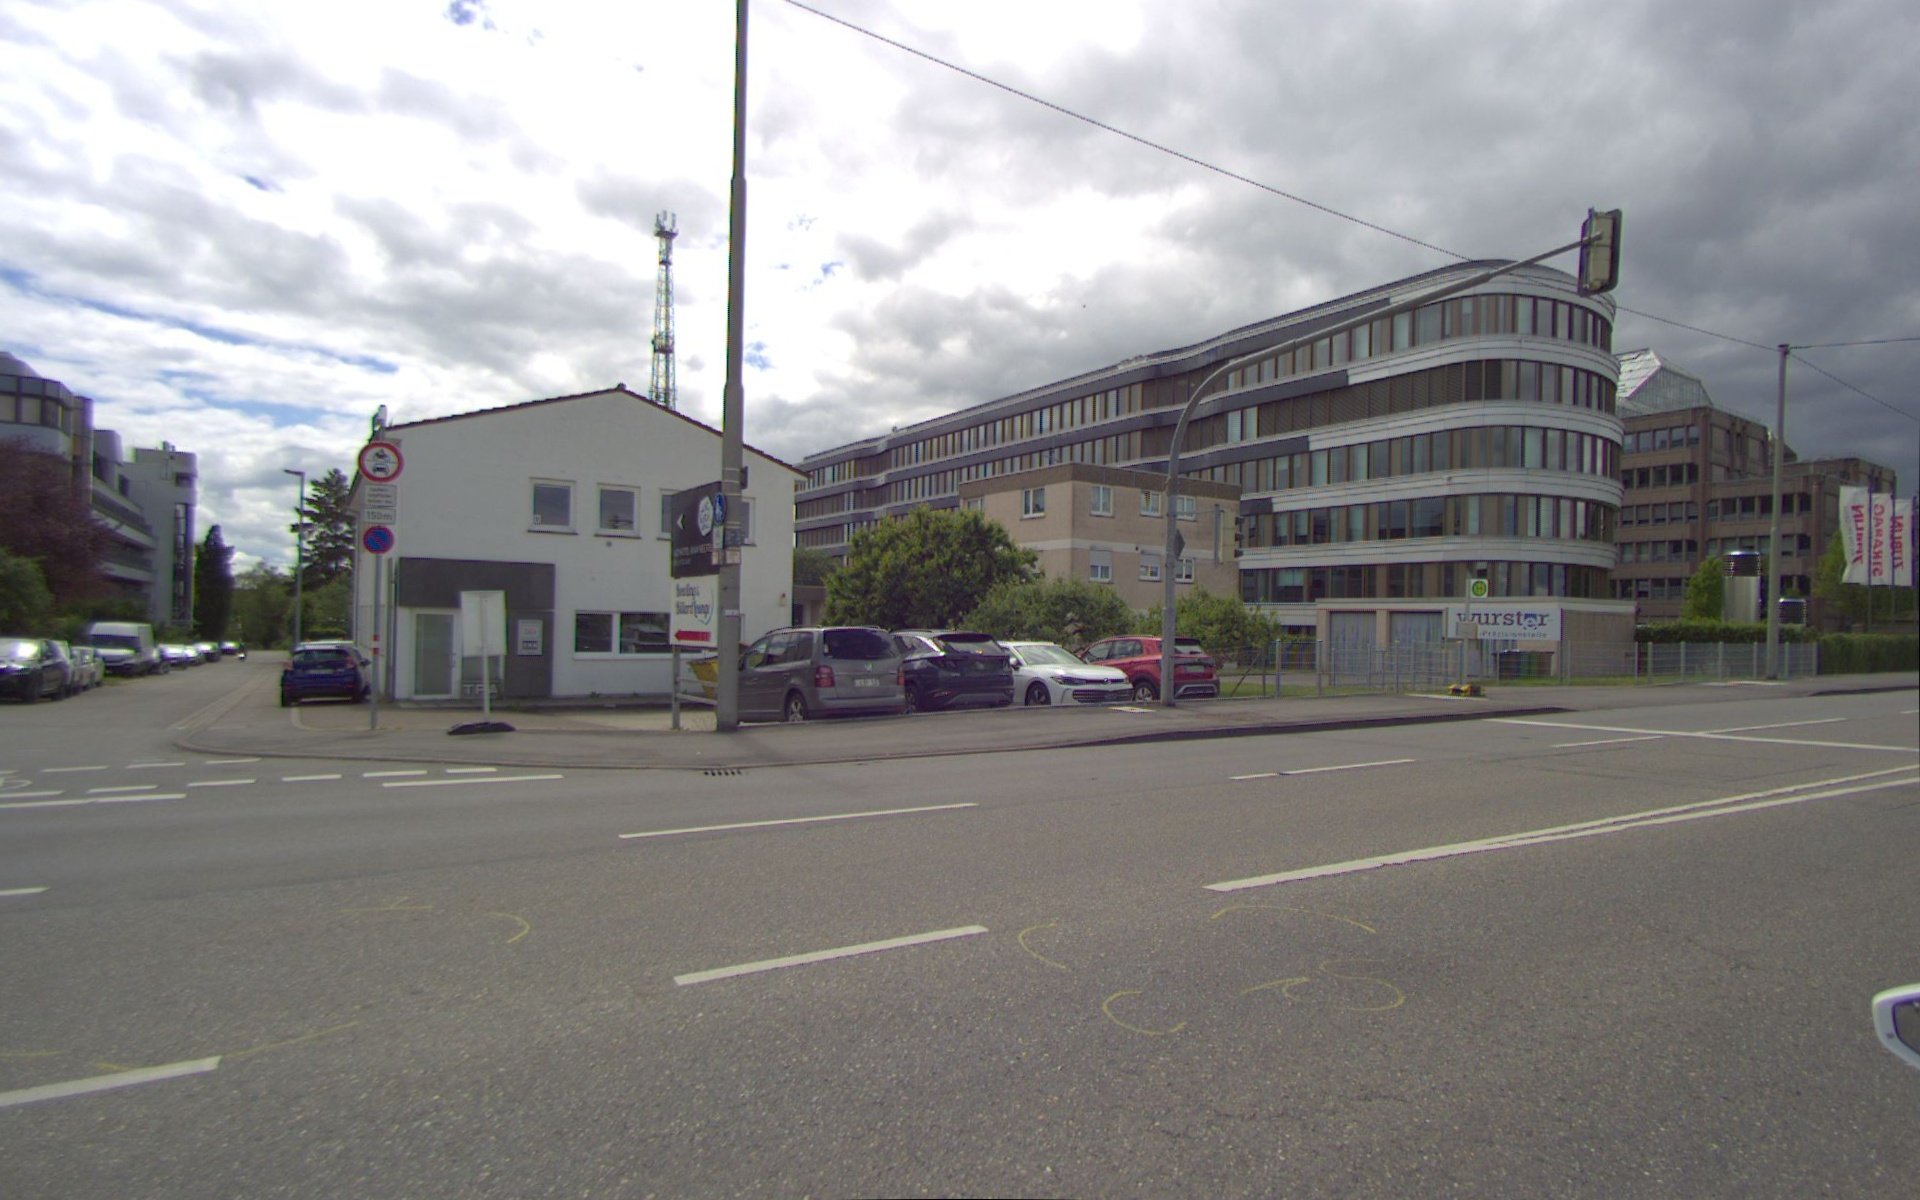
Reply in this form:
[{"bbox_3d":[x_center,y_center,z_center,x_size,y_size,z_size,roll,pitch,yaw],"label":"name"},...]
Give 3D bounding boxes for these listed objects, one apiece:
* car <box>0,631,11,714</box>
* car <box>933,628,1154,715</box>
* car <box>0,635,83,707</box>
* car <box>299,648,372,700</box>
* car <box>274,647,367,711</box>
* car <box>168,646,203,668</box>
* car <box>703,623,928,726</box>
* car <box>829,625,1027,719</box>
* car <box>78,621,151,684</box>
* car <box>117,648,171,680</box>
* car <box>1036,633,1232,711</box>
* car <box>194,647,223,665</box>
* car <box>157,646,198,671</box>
[{"bbox_3d":[-21.092,1.409,19.822,2.144,1.816,4.736,4,-5,-28],"label":"car"},{"bbox_3d":[1.466,1.440,19.248,1.965,1.404,4.198,3,-8,-35],"label":"car"},{"bbox_3d":[-24.152,1.828,25.539,1.977,1.727,3.970,2,-5,-30],"label":"car"},{"bbox_3d":[-19.241,2.233,30.892,1.791,1.438,3.904,0,-3,-34],"label":"car"},{"bbox_3d":[-16.188,1.969,25.585,1.789,1.438,3.909,0,-3,-30],"label":"car"},{"bbox_3d":[-57.014,4.169,73.983,1.649,1.487,3.789,2,-2,-32],"label":"car"},{"bbox_3d":[-2.478,1.263,16.388,1.891,1.415,4.066,1,-7,-37],"label":"car"},{"bbox_3d":[-0.710,1.371,18.149,1.835,1.442,3.968,2,-7,-32],"label":"car"},{"bbox_3d":[-40.078,2.442,47.708,2.083,2.642,4.371,2,0,-33],"label":"car"},{"bbox_3d":[-43.036,3.352,53.055,1.730,1.548,3.789,2,-2,-32],"label":"car"},{"bbox_3d":[3.515,1.558,20.959,1.828,1.387,3.968,2,-7,-32],"label":"car"},{"bbox_3d":[-64.718,4.813,86.541,1.649,1.487,3.789,2,-2,-32],"label":"car"},{"bbox_3d":[-50.664,3.760,65.107,1.649,1.487,3.789,2,-2,-32],"label":"car"}]
